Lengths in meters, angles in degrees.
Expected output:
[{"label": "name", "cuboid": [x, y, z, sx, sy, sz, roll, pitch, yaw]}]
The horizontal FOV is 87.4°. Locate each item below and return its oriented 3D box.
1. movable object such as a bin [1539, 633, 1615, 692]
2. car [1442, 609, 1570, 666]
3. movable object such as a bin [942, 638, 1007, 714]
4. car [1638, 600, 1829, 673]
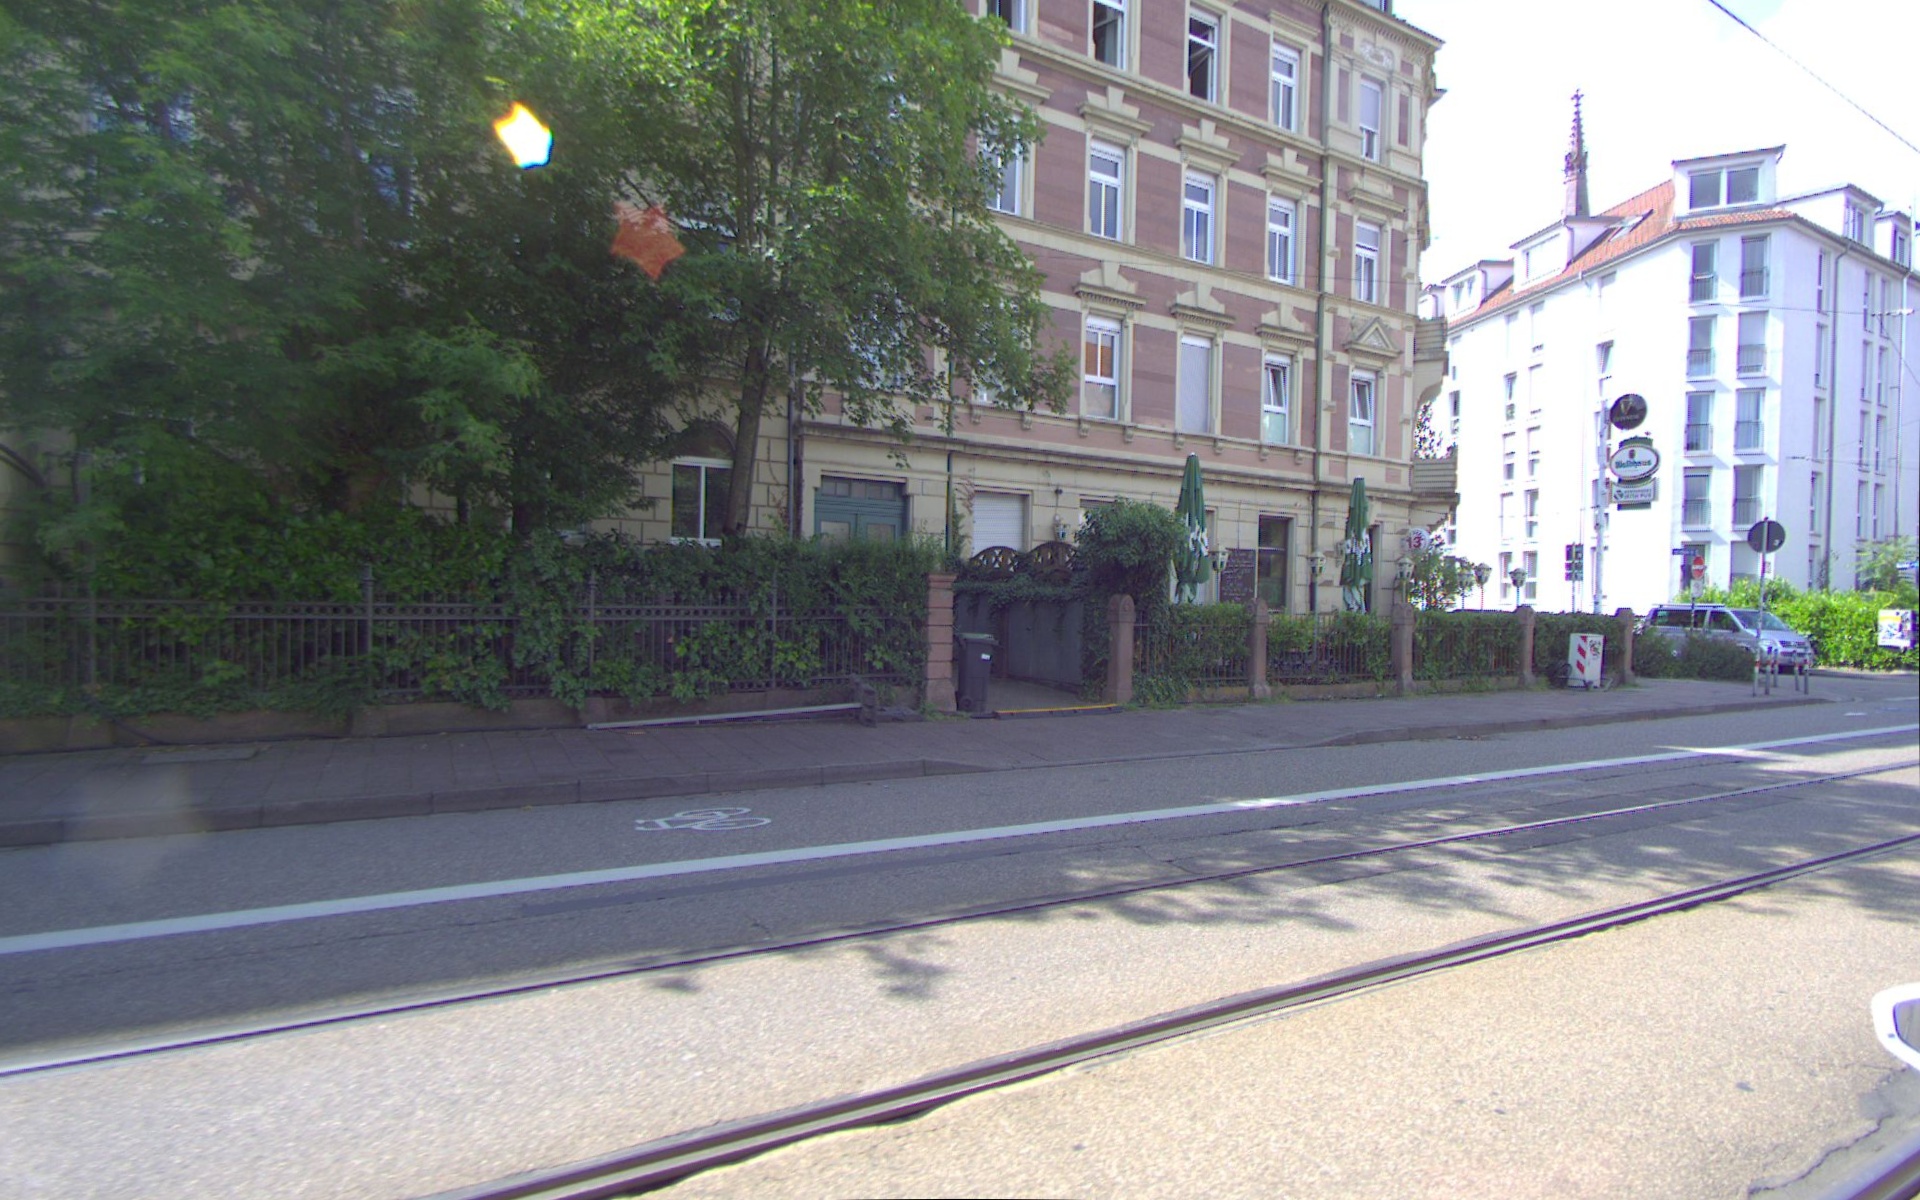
[{"label": "movable object such as a bin", "cuboid": [11.511, 1.150, 18.739, 1.101, 1.001, 0.741, 1, 2, -30]}, {"label": "car", "cuboid": [16.099, 1.098, 29.639, 3.128, 1.588, 1.391, 1, 0, -11]}, {"label": "movable object such as a bin", "cuboid": [0.179, 0.936, 12.563, 0.609, 0.888, 0.559, 1, 0, -30]}, {"label": "car", "cuboid": [23.968, 1.063, 31.390, 2.009, 2.040, 4.671, 1, 0, -8]}]
